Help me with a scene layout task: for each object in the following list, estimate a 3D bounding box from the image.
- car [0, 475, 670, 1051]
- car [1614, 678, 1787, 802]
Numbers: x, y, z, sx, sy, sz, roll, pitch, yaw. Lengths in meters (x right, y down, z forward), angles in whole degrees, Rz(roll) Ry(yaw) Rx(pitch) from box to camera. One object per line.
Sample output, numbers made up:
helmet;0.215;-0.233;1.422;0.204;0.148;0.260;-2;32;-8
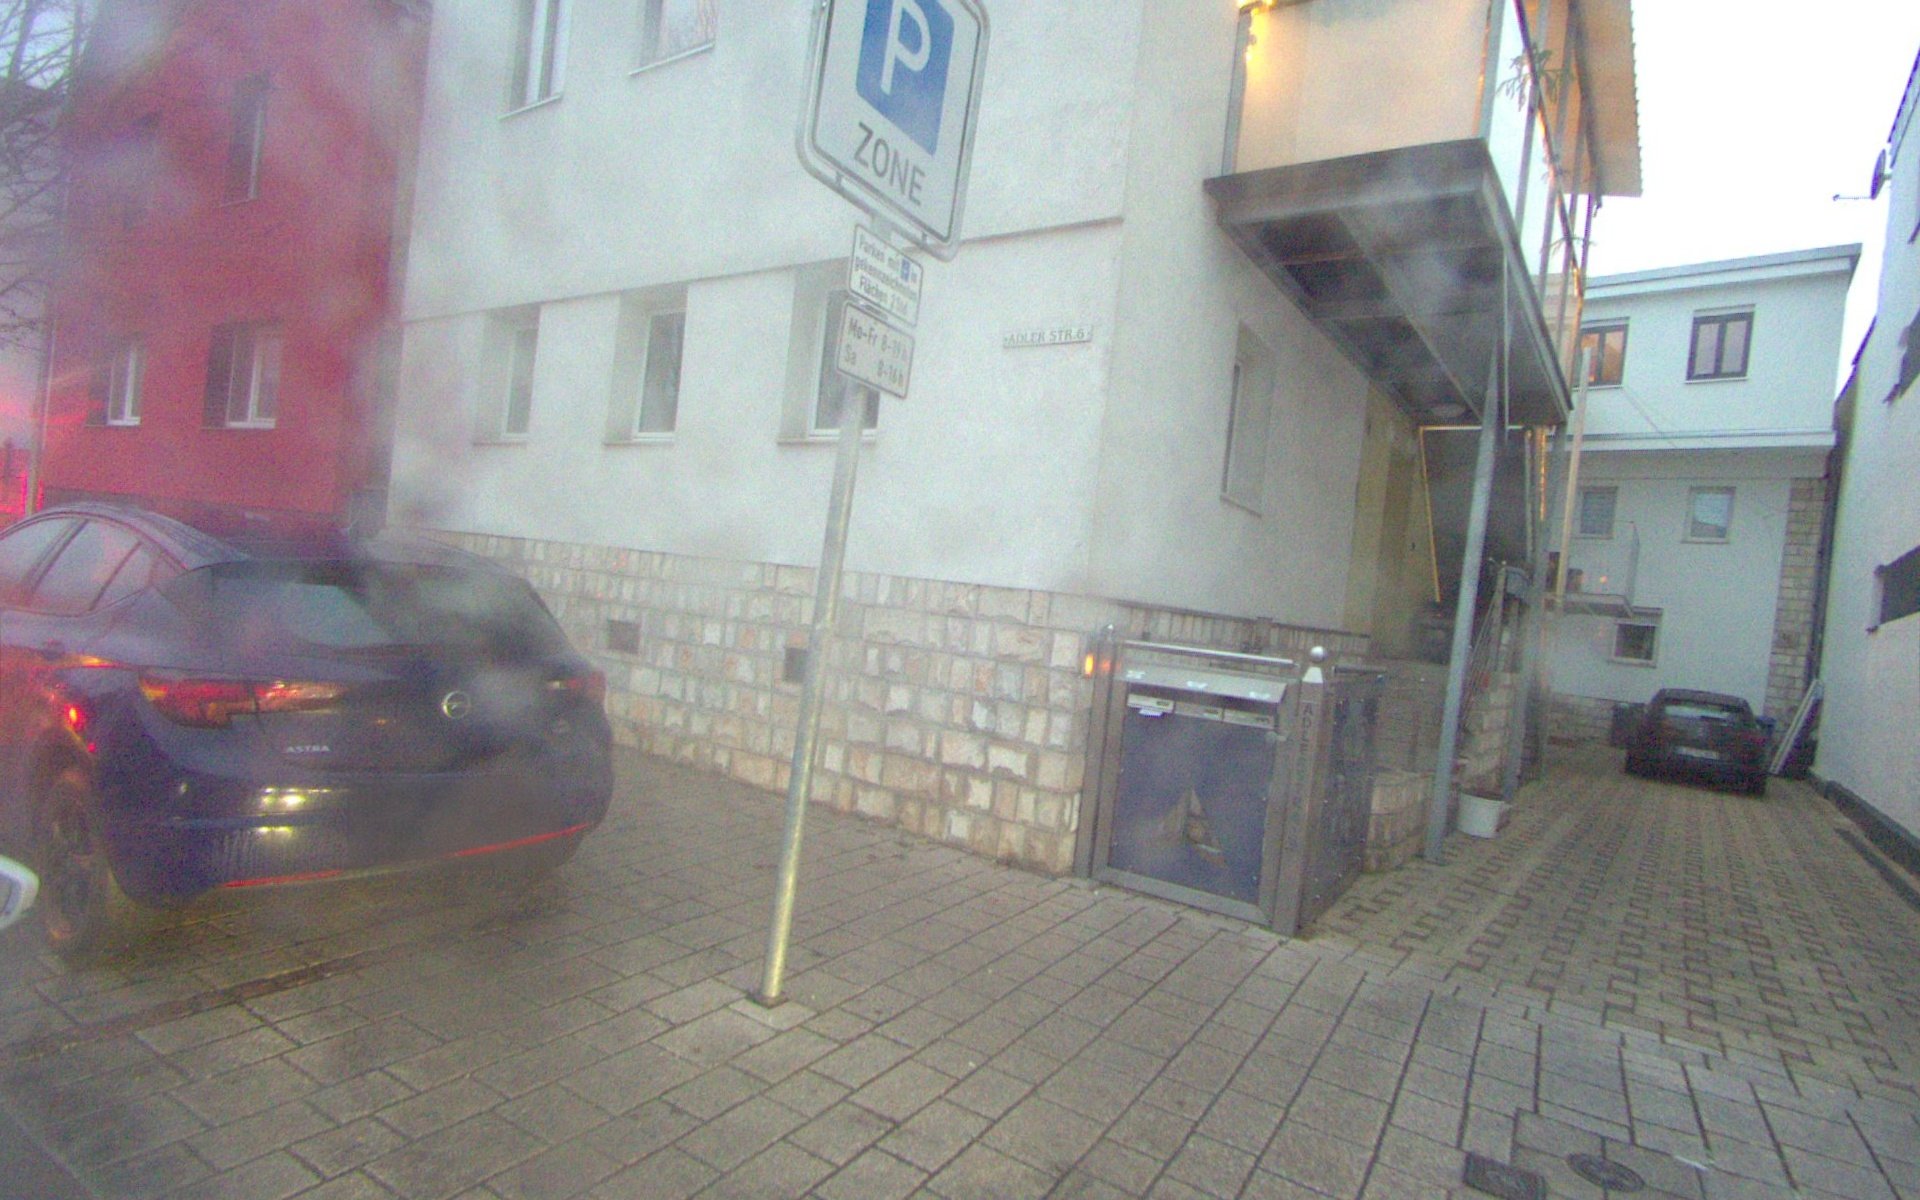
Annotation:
car;-3.421;0.292;4.569;4.131;1.484;1.727;7;3;34
car;12.114;2.187;16.681;1.906;1.434;3.949;9;2;34
